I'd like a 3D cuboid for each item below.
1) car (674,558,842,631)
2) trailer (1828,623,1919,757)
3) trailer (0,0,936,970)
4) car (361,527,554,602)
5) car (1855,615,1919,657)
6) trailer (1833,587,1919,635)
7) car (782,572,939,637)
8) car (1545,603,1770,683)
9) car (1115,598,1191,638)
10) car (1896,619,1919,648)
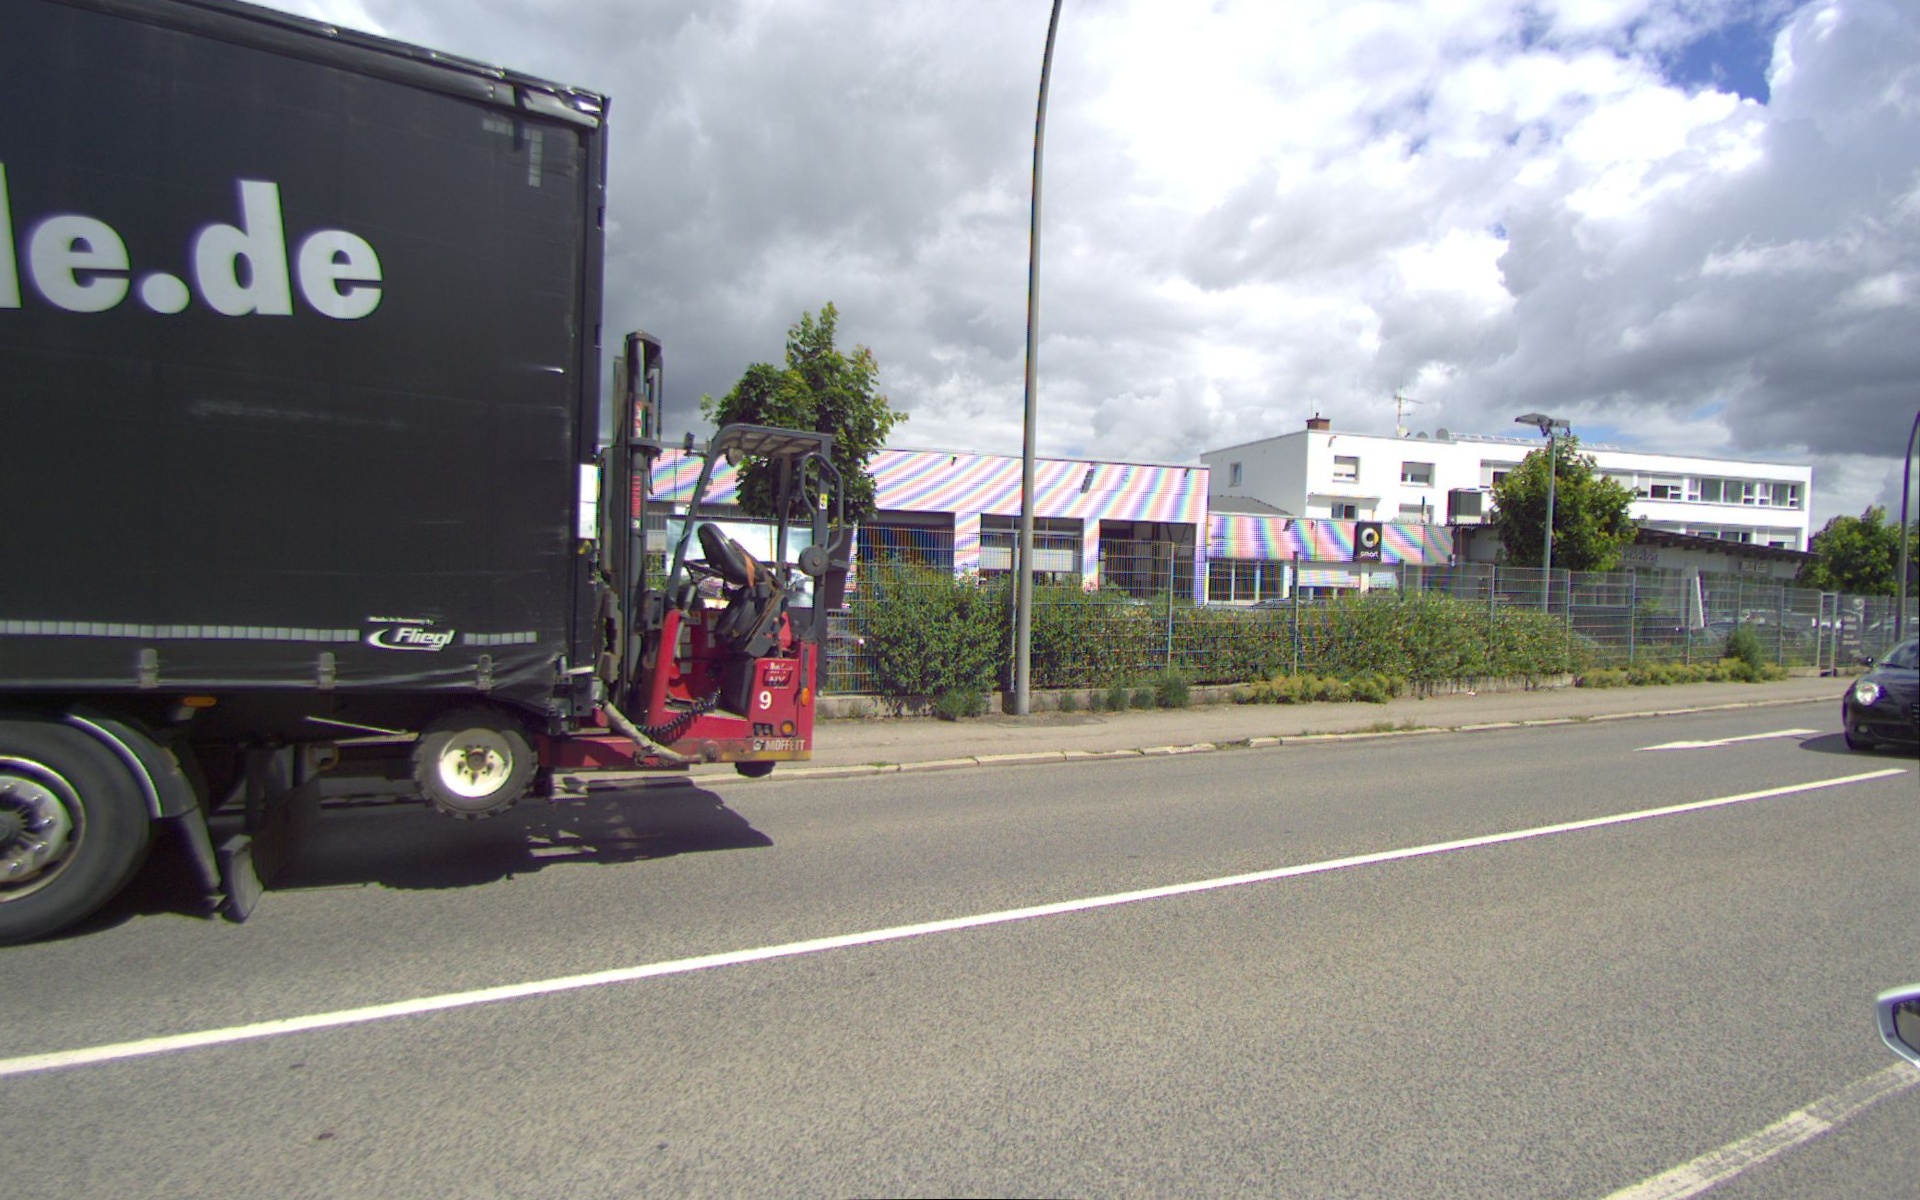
[{"bbox_3d":[-6.014,-0.151,29.867,4.657,1.925,1.777,2,1,-19],"label":"car"},{"bbox_3d":[12.164,1.025,12.111,3.959,1.442,1.637,1,0,-35],"label":"trailer"},{"bbox_3d":[-7.686,-0.761,3.439,15.349,4.107,2.790,2,1,-26],"label":"trailer"},{"bbox_3d":[-12.490,-0.866,25.239,4.087,1.627,1.719,2,1,-20],"label":"car"},{"bbox_3d":[42.151,1.624,43.940,2.133,1.723,3.982,2,1,-8],"label":"car"},{"bbox_3d":[83.544,0.958,88.527,9.587,4.148,2.818,0,0,33],"label":"trailer"},{"bbox_3d":[-2.817,0.116,28.297,4.087,1.627,1.719,2,1,-20],"label":"car"},{"bbox_3d":[17.722,1.035,25.724,2.148,1.723,4.170,1,1,-30],"label":"car"},{"bbox_3d":[7.527,0.681,39.494,1.556,1.375,3.325,2,1,-17],"label":"car"},{"bbox_3d":[51.655,1.844,52.177,1.762,1.499,4.199,2,1,-8],"label":"car"}]
